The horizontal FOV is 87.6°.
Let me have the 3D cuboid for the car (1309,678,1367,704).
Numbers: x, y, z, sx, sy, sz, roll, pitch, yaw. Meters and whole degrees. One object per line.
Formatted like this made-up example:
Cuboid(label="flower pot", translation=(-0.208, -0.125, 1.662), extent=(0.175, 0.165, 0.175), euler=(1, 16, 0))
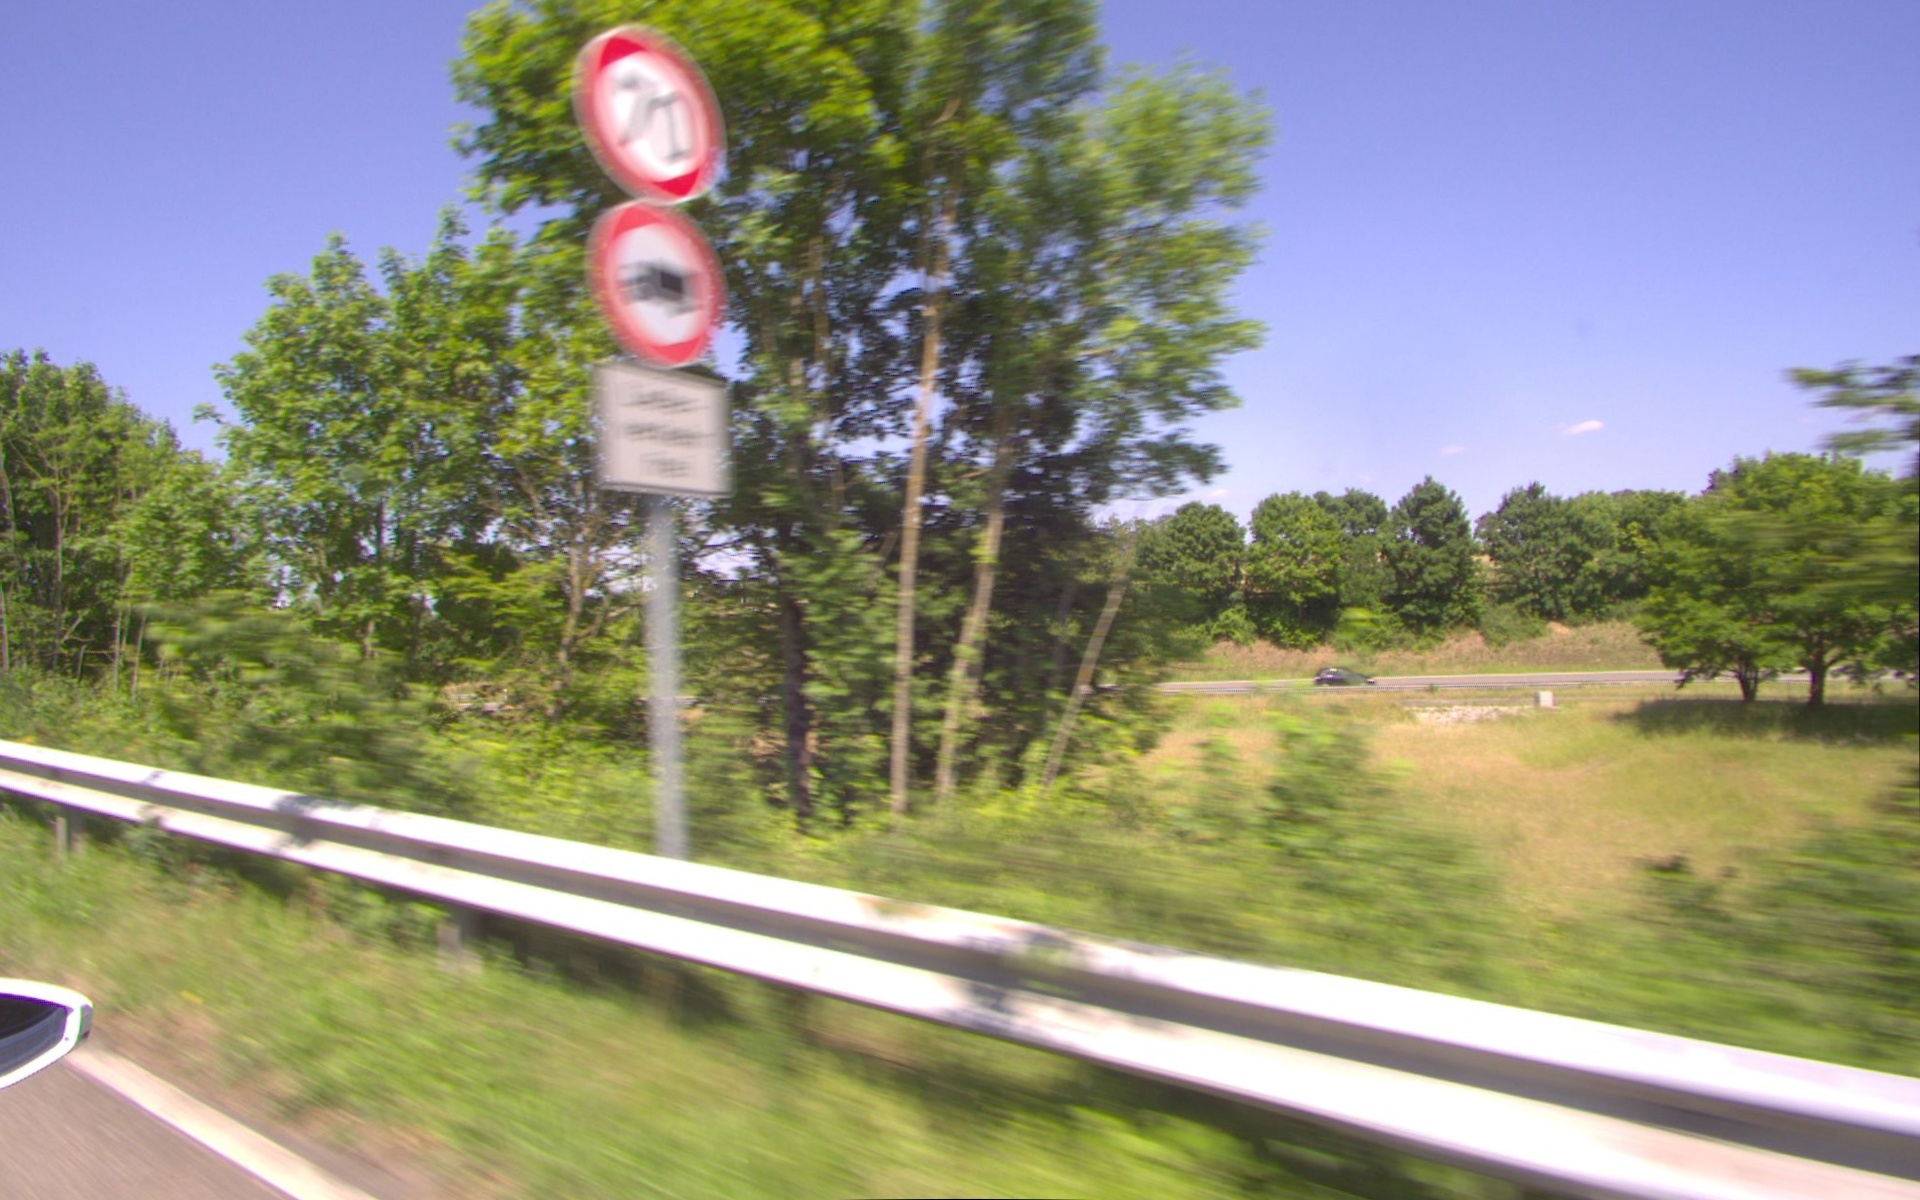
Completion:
Cuboid(label="car", translation=(26.428, 6.351, 70.118), extent=(3.592, 1.712, 1.606), euler=(0, -6, 14))
